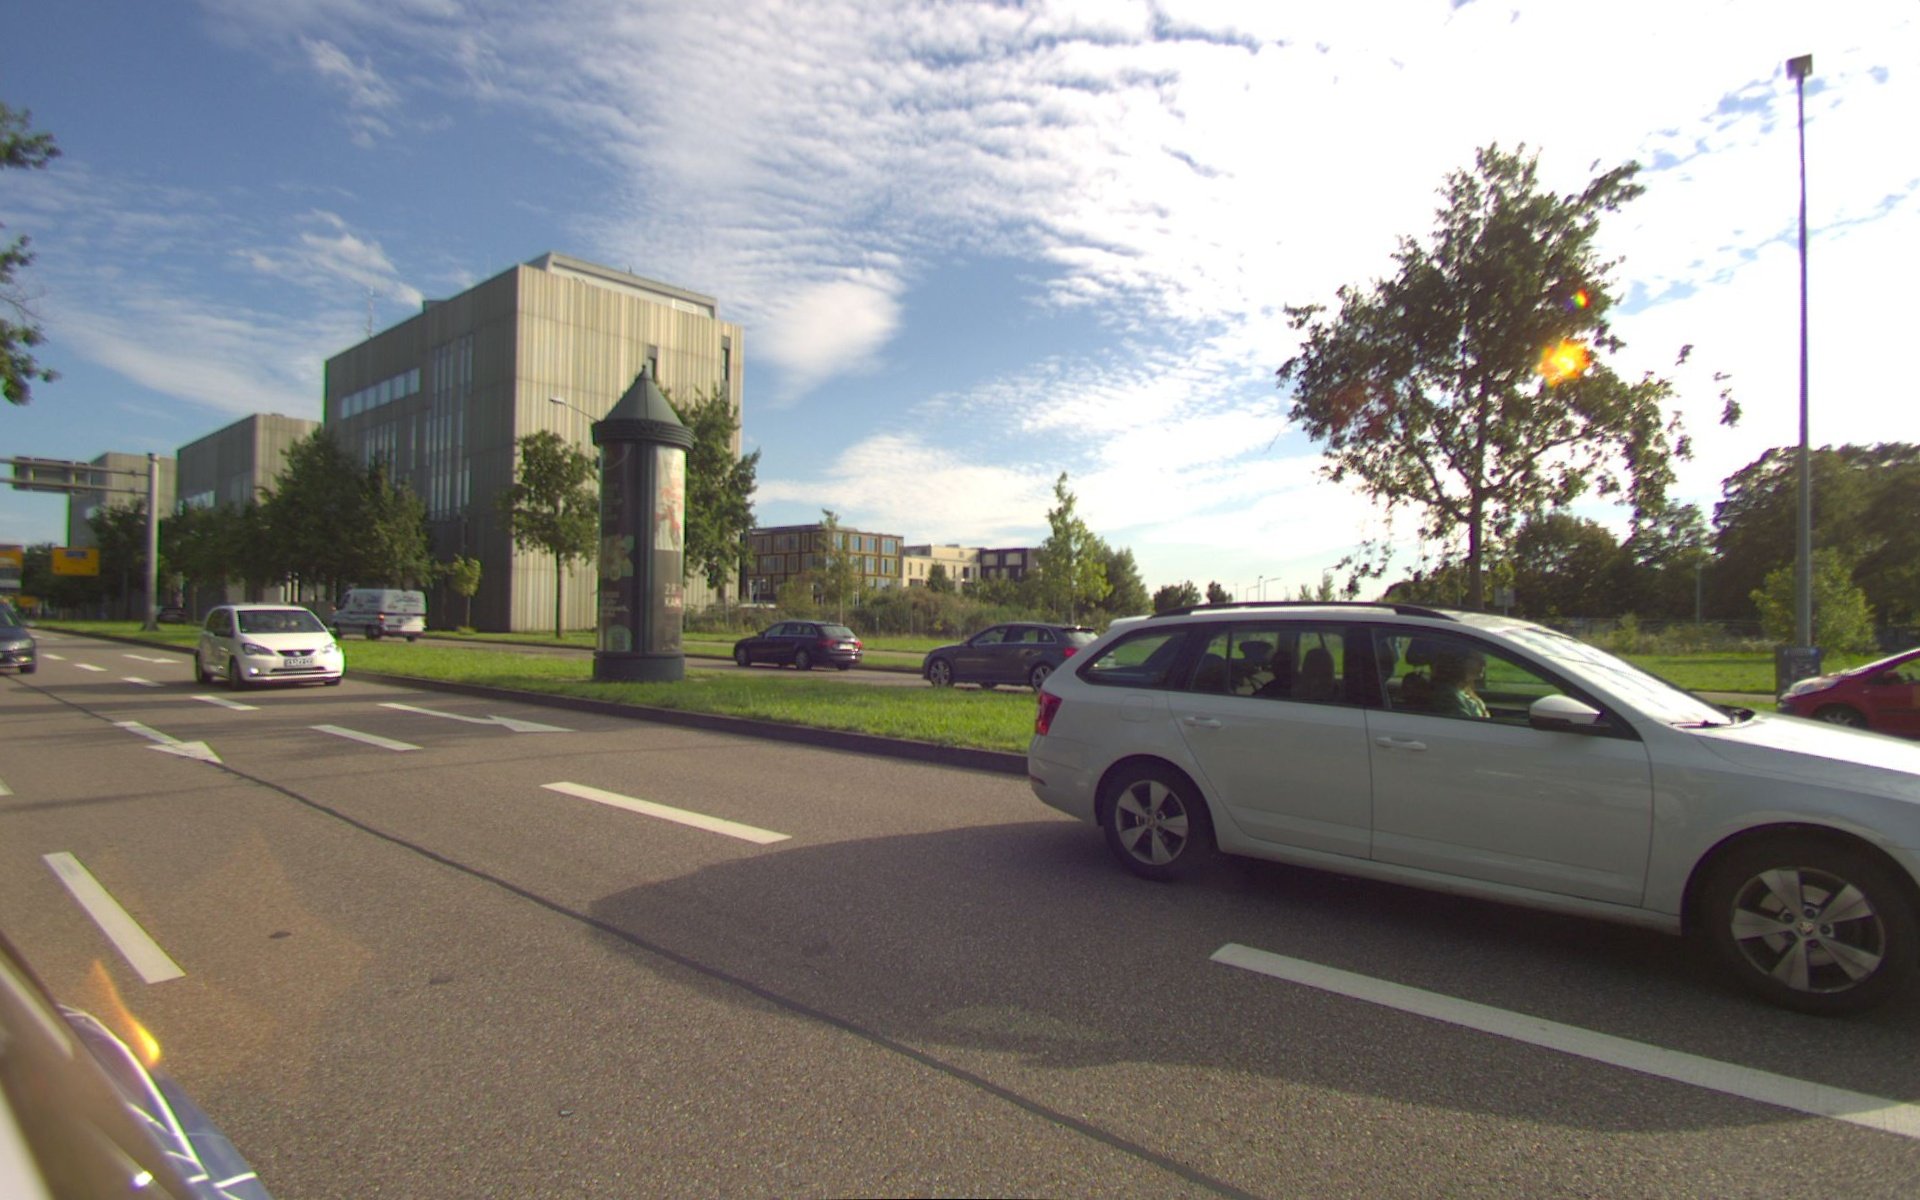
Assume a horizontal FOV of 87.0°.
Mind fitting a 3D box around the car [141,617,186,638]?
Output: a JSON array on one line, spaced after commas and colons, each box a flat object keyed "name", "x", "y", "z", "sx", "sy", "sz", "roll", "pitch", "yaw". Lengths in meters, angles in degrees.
[{"name": "car", "x": -57.822, "y": 1.989, "z": 73.438, "sx": 4.453, "sy": 1.475, "sz": 1.831, "roll": -1, "pitch": -1, "yaw": 41}]

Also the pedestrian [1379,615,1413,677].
[{"name": "pedestrian", "x": 11.814, "y": 1.223, "z": 27.399, "sx": 0.658, "sy": 1.642, "sz": 0.620, "roll": -1, "pitch": -1, "yaw": 44}]

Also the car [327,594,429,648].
[{"name": "car", "x": -26.317, "y": 0.923, "z": 45.715, "sx": 5.534, "sy": 2.272, "sz": 2.007, "roll": 0, "pitch": -3, "yaw": 38}]

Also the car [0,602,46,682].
[{"name": "car", "x": -21.027, "y": 0.855, "z": 21.524, "sx": 4.845, "sy": 1.578, "sz": 1.972, "roll": 0, "pitch": 0, "yaw": 43}]

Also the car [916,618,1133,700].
[{"name": "car", "x": 1.225, "y": 1.139, "z": 20.299, "sx": 4.066, "sy": 1.445, "sz": 1.831, "roll": -1, "pitch": -4, "yaw": 41}]

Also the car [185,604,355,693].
[{"name": "car", "x": -12.713, "y": 0.819, "z": 18.588, "sx": 3.658, "sy": 1.475, "sz": 1.743, "roll": -1, "pitch": -1, "yaw": 41}]

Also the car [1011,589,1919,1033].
[{"name": "car", "x": 2.630, "y": 0.706, "z": 5.009, "sx": 4.637, "sy": 1.456, "sz": 1.831, "roll": -1, "pitch": -1, "yaw": 41}]

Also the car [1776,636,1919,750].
[{"name": "car", "x": 13.143, "y": 1.225, "z": 13.393, "sx": 3.585, "sy": 1.445, "sz": 1.664, "roll": 0, "pitch": -2, "yaw": 38}]

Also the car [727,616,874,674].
[{"name": "car", "x": -4.760, "y": 1.299, "z": 29.817, "sx": 4.453, "sy": 1.584, "sz": 1.831, "roll": -1, "pitch": -4, "yaw": 41}]
